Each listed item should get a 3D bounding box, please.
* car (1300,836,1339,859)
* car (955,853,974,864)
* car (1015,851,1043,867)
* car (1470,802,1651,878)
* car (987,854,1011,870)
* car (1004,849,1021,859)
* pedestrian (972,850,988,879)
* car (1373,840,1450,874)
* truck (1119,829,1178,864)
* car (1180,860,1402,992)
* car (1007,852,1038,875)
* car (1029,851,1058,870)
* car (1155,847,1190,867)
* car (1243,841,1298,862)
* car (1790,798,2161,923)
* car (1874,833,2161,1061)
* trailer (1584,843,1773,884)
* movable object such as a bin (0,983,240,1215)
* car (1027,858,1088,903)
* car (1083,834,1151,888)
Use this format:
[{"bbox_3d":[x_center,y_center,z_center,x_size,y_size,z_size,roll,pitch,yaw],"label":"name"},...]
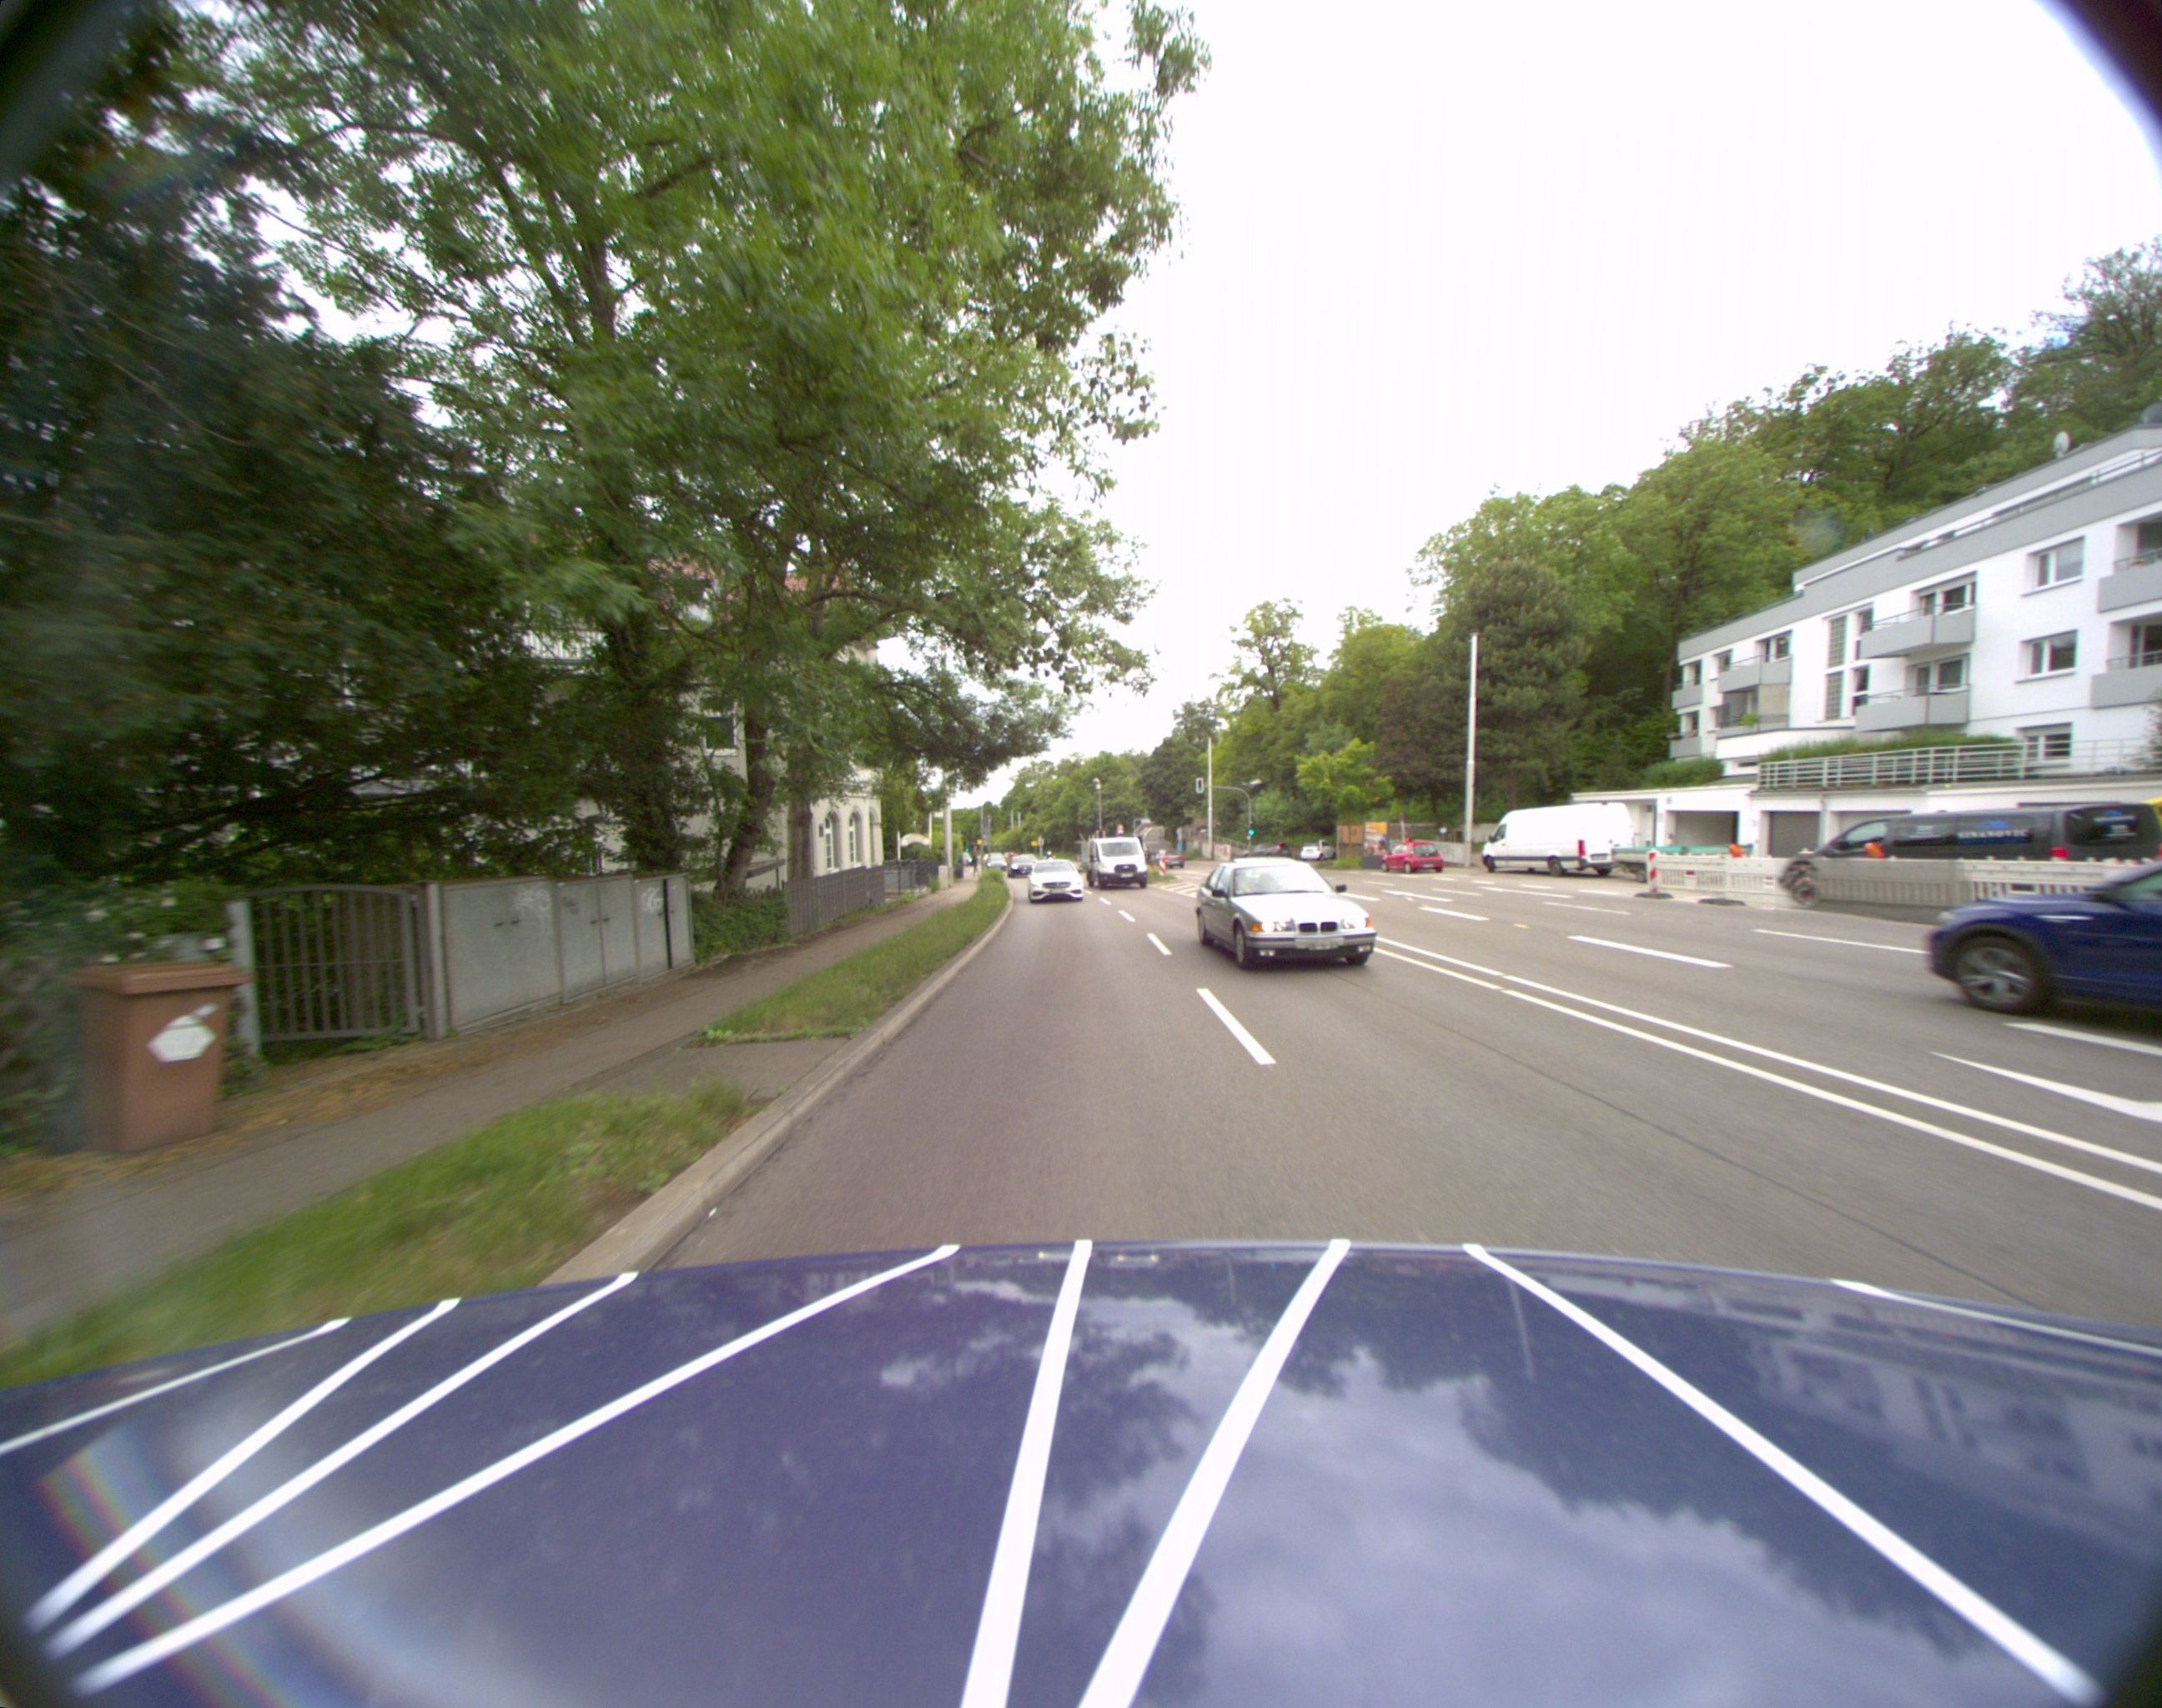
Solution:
[{"bbox_3d":[18.030,-0.461,57.416,2.715,1.512,1.560,-6,4,-40],"label":"car"},{"bbox_3d":[-15.347,0.546,99.958,1.810,1.385,4.278,-2,1,-16],"label":"car"},{"bbox_3d":[-5.022,0.455,72.985,1.680,1.532,4.608,-1,0,-17],"label":"car"},{"bbox_3d":[18.396,-0.521,29.831,2.237,2.553,7.420,-2,1,-1],"label":"car"},{"bbox_3d":[-7.823,0.703,72.174,1.809,1.385,4.279,-2,1,-12],"label":"car"},{"bbox_3d":[-10.284,-0.007,113.408,1.698,1.492,4.548,-3,1,-16],"label":"car"},{"bbox_3d":[-6.692,0.686,50.314,0.618,1.823,0.696,-2,2,34],"label":"pedestrian"},{"bbox_3d":[15.562,0.120,36.014,1.626,1.457,3.924,-2,1,-5],"label":"car"},{"bbox_3d":[6.236,-0.672,71.887,2.971,2.954,8.969,-3,1,-12],"label":"truck"},{"bbox_3d":[2.760,0.855,11.190,1.757,1.385,4.613,-2,1,-3],"label":"car"},{"bbox_3d":[-4.221,0.668,54.322,1.679,1.532,4.610,-1,0,-11],"label":"car"},{"bbox_3d":[-3.120,0.502,62.432,1.679,1.532,4.548,-1,0,-12],"label":"car"},{"bbox_3d":[6.987,0.222,58.303,1.848,1.385,4.282,-2,1,-4],"label":"car"},{"bbox_3d":[14.025,-0.168,56.537,1.601,1.531,4.124,-2,1,-28],"label":"car"},{"bbox_3d":[16.999,0.075,14.673,1.987,1.956,5.219,-2,1,4],"label":"car"},{"bbox_3d":[8.500,0.656,4.796,1.775,1.587,5.184,-2,1,3],"label":"car"},{"bbox_3d":[18.489,0.245,23.877,2.252,1.105,4.621,-2,1,-1],"label":"trailer"},{"bbox_3d":[-4.790,1.174,3.765,0.556,0.942,0.567,-2,1,-3],"label":"movable object such as a bin"},{"bbox_3d":[-0.917,0.889,26.948,1.808,1.385,4.281,-1,0,-6],"label":"car"},{"bbox_3d":[1.490,0.257,34.174,2.254,2.114,6.666,-2,1,-4],"label":"car"}]
